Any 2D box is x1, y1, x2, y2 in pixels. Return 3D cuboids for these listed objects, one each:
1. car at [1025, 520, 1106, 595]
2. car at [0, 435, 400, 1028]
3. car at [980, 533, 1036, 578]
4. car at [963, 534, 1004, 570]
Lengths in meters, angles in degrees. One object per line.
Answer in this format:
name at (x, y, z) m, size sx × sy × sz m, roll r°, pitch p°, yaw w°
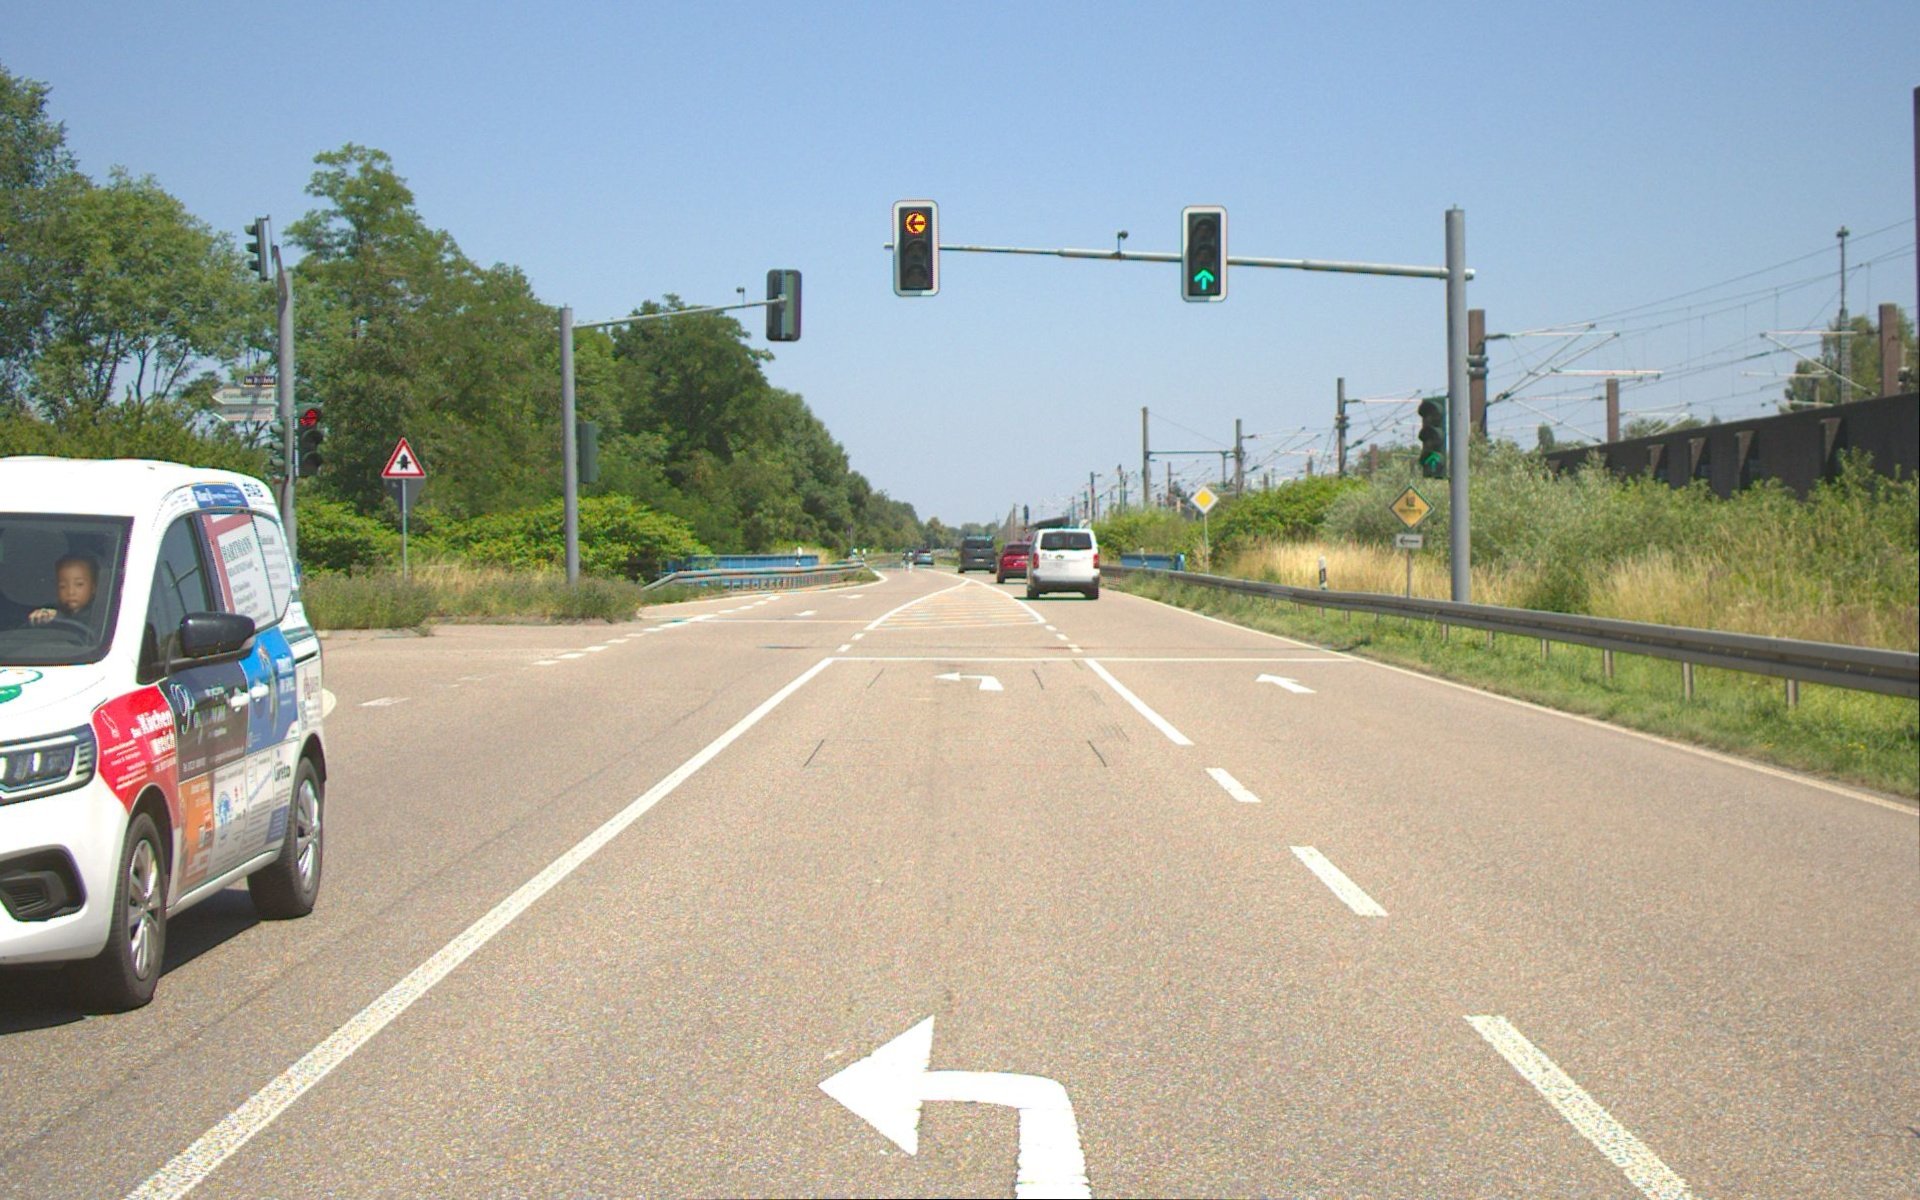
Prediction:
car at (2.857, -1.173, 93.926) m, size 1.993 × 1.977 × 4.060 m, roll 1°, pitch 1°, yaw -1°
car at (-3.421, 0.336, 12.472) m, size 1.887 × 1.734 × 4.776 m, roll 0°, pitch 1°, yaw 1°
car at (1.866, -1.777, 135.492) m, size 2.019 × 1.720 × 4.543 m, roll 0°, pitch 1°, yaw -1°
car at (1.284, -2.671, 191.616) m, size 2.154 × 1.961 × 4.543 m, roll 0°, pitch 1°, yaw -1°
